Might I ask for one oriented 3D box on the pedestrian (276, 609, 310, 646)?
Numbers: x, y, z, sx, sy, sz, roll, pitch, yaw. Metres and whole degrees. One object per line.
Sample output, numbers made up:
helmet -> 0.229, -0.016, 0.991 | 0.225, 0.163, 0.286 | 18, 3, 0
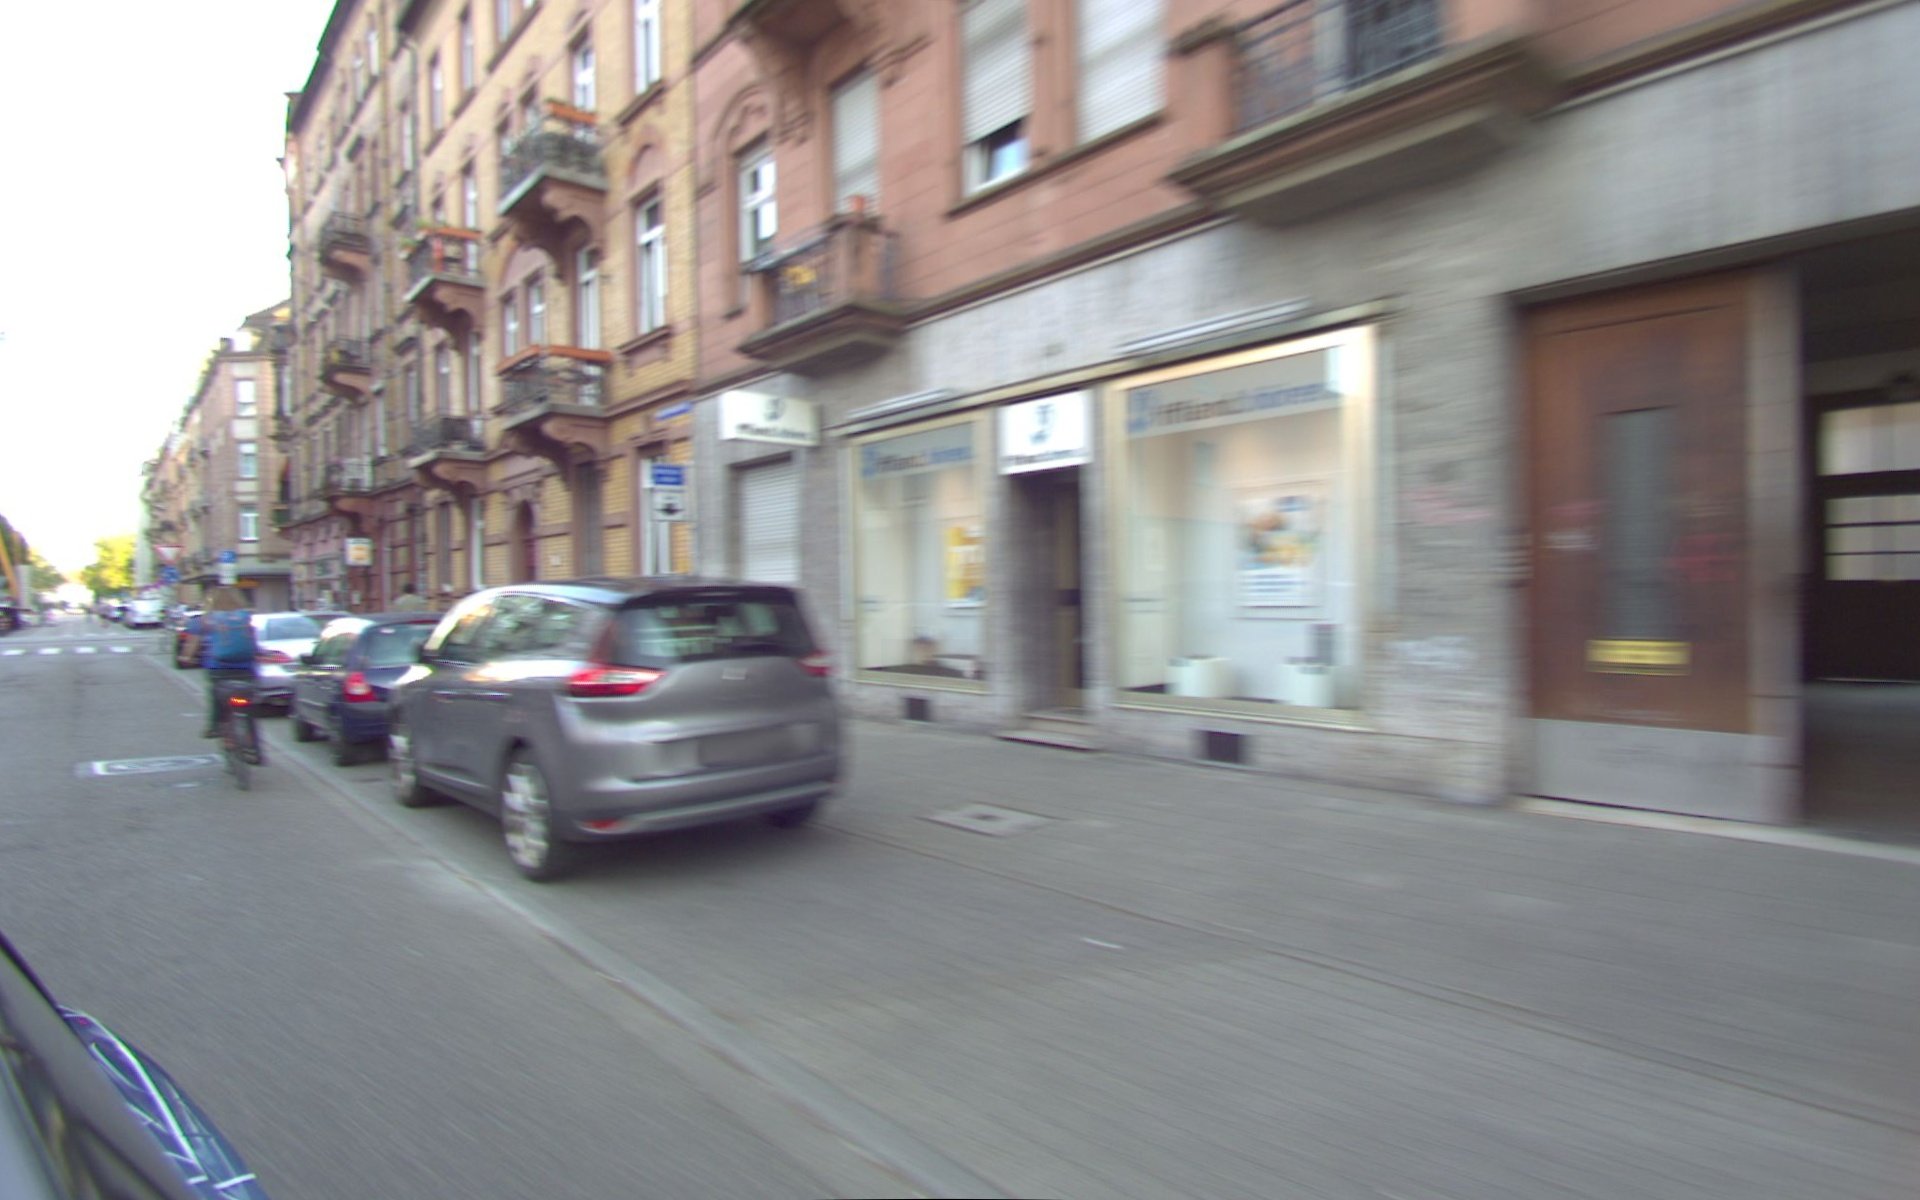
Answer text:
pedestrian -> -24.425, 1.013, 37.064 | 0.906, 1.263, 0.643 | -2, 2, 34

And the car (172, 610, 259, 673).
car -> -19.446, 1.029, 26.363 | 1.672, 1.431, 3.862 | -2, 1, -38

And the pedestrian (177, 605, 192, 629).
pedestrian -> -57.280, 1.248, 74.756 | 0.737, 1.756, 1.216 | -2, 1, -35

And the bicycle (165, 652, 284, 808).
bicycle -> -6.261, 1.017, 8.567 | 0.637, 1.089, 2.172 | 1, -1, -40

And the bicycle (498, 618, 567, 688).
bicycle -> -7.543, 0.911, 17.809 | 0.542, 1.132, 1.762 | -5, 2, -40

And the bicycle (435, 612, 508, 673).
bicycle -> -9.695, 0.834, 20.062 | 1.610, 1.132, 0.730 | -2, 1, 43

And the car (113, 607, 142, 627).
car -> -83.180, 1.683, 101.063 | 2.109, 1.835, 4.547 | -2, 1, -41

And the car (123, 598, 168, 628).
car -> -56.690, 0.881, 70.433 | 2.110, 1.973, 4.775 | -2, 1, -42

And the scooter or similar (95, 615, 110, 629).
scooter or similar -> -68.089, 1.739, 80.326 | 1.173, 1.112, 0.798 | -1, -1, 45

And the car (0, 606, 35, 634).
car -> -77.924, 1.661, 81.128 | 2.324, 2.210, 5.106 | 0, 2, 24

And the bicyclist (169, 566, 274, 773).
bicyclist -> -6.269, 0.559, 8.578 | 0.637, 1.633, 0.919 | 1, -2, -40

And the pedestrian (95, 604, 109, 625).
pedestrian -> -68.097, 1.131, 80.334 | 0.673, 1.672, 0.798 | -2, -1, 45

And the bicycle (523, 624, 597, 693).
bicycle -> -6.631, 0.943, 16.740 | 0.542, 1.045, 1.762 | -5, 2, -40

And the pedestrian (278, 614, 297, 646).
pedestrian -> -25.101, 1.105, 37.754 | 0.497, 1.152, 0.793 | -2, 2, -39

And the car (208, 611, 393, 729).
car -> -10.116, 0.930, 15.367 | 1.702, 1.431, 4.588 | -3, 1, -41

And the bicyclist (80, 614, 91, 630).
bicyclist -> -94.573, 2.385, 109.455 | 1.201, 1.652, 0.744 | -2, 0, 43

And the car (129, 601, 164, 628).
car -> -60.434, 1.056, 75.163 | 1.851, 1.918, 4.333 | -2, 1, -40

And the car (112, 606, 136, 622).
car -> -95.773, 1.573, 115.999 | 1.968, 1.751, 4.008 | -2, 2, -38

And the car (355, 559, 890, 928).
car -> -2.564, 0.661, 6.845 | 1.830, 1.646, 4.452 | -3, 1, -41

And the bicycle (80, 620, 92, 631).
bicycle -> -94.556, 2.797, 109.455 | 1.976, 1.139, 0.744 | -2, 0, 43

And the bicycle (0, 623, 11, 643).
bicycle -> -56.310, 1.917, 58.926 | 2.101, 1.178, 0.661 | 0, -2, 22

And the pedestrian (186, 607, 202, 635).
pedestrian -> -49.874, 1.375, 65.901 | 0.644, 1.792, 0.694 | -2, 0, -23

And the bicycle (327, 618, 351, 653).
bicycle -> -19.617, 1.099, 31.944 | 0.420, 1.061, 1.902 | -2, 1, -37

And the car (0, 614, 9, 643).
car -> -59.104, 1.780, 59.709 | 1.813, 1.680, 3.977 | 0, 1, 18

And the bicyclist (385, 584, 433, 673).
bicyclist -> -11.162, 0.557, 20.491 | 0.699, 1.742, 0.845 | -2, 2, -37

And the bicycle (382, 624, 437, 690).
bicycle -> -11.176, 1.122, 20.520 | 0.699, 1.205, 1.745 | -2, 2, -37

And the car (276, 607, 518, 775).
car -> -6.173, 0.840, 10.895 | 1.565, 1.431, 3.702 | -2, 0, -40
